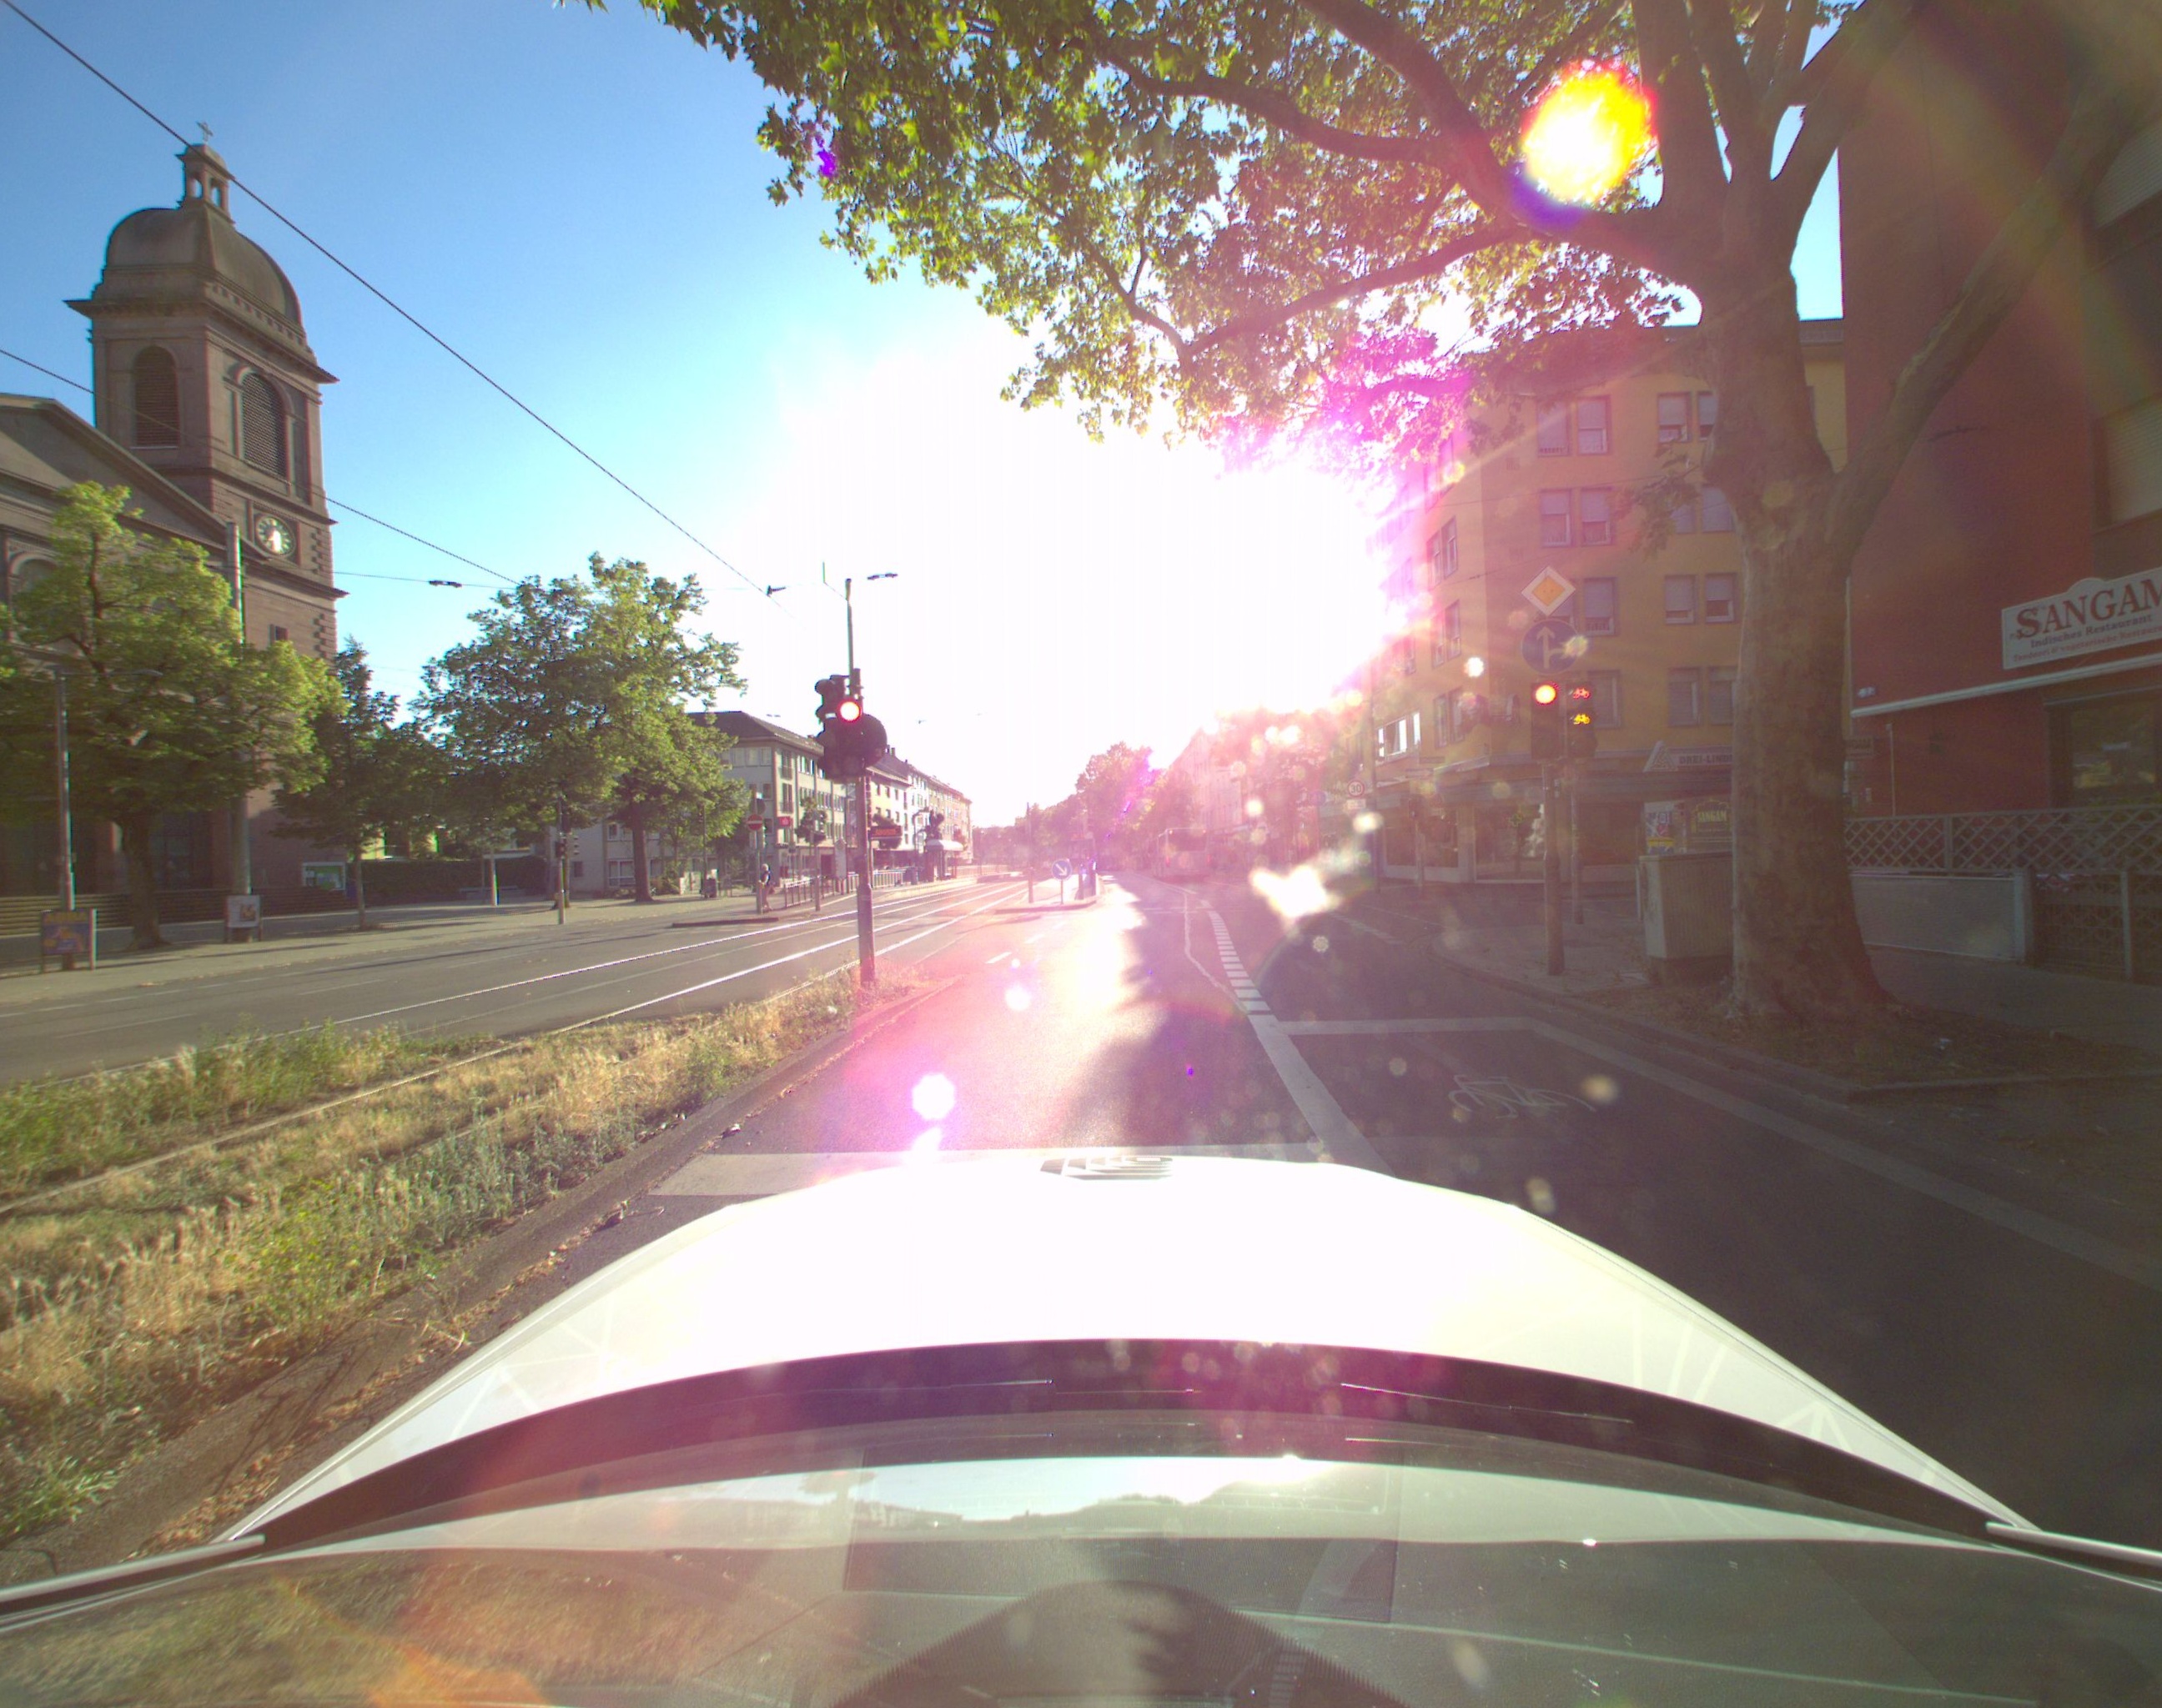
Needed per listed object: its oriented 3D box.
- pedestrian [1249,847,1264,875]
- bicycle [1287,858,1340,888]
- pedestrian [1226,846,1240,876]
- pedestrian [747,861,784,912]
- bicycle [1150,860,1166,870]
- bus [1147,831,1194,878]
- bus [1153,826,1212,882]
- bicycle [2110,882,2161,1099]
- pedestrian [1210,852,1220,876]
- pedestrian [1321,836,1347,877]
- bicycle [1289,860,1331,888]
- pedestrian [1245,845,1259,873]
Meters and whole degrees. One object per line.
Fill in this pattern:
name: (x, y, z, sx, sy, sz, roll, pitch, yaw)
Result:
pedestrian: (10.998, 0.431, 51.156, 0.721, 1.723, 0.766, -2, -1, 1)
bicycle: (8.874, 0.709, 31.133, 1.793, 1.008, 0.540, -4, -1, -3)
pedestrian: (9.459, 0.451, 50.675, 0.721, 1.807, 0.766, -2, -1, 1)
pedestrian: (-11.283, 1.147, 29.161, 0.915, 1.760, 0.833, -2, -1, 2)
bicycle: (9.535, 1.382, 100.906, 1.879, 1.077, 0.755, -6, -1, 4)
bus: (6.404, 0.086, 59.387, 2.686, 3.118, 9.073, -1, 0, 2)
bus: (6.111, 0.027, 50.202, 2.686, 3.118, 9.385, -1, 0, 2)
bicycle: (5.663, 0.751, 3.645, 0.613, 1.111, 1.812, -3, 1, 28)
pedestrian: (9.143, 0.661, 55.474, 0.607, 1.578, 0.853, -2, 0, 7)
pedestrian: (11.202, 0.110, 36.087, 0.741, 1.780, 0.895, -4, -1, 1)
bicycle: (8.942, 0.781, 31.750, 1.479, 1.008, 0.454, -2, 0, -2)
pedestrian: (11.270, 0.325, 53.761, 0.721, 1.779, 0.766, -2, -1, 1)
